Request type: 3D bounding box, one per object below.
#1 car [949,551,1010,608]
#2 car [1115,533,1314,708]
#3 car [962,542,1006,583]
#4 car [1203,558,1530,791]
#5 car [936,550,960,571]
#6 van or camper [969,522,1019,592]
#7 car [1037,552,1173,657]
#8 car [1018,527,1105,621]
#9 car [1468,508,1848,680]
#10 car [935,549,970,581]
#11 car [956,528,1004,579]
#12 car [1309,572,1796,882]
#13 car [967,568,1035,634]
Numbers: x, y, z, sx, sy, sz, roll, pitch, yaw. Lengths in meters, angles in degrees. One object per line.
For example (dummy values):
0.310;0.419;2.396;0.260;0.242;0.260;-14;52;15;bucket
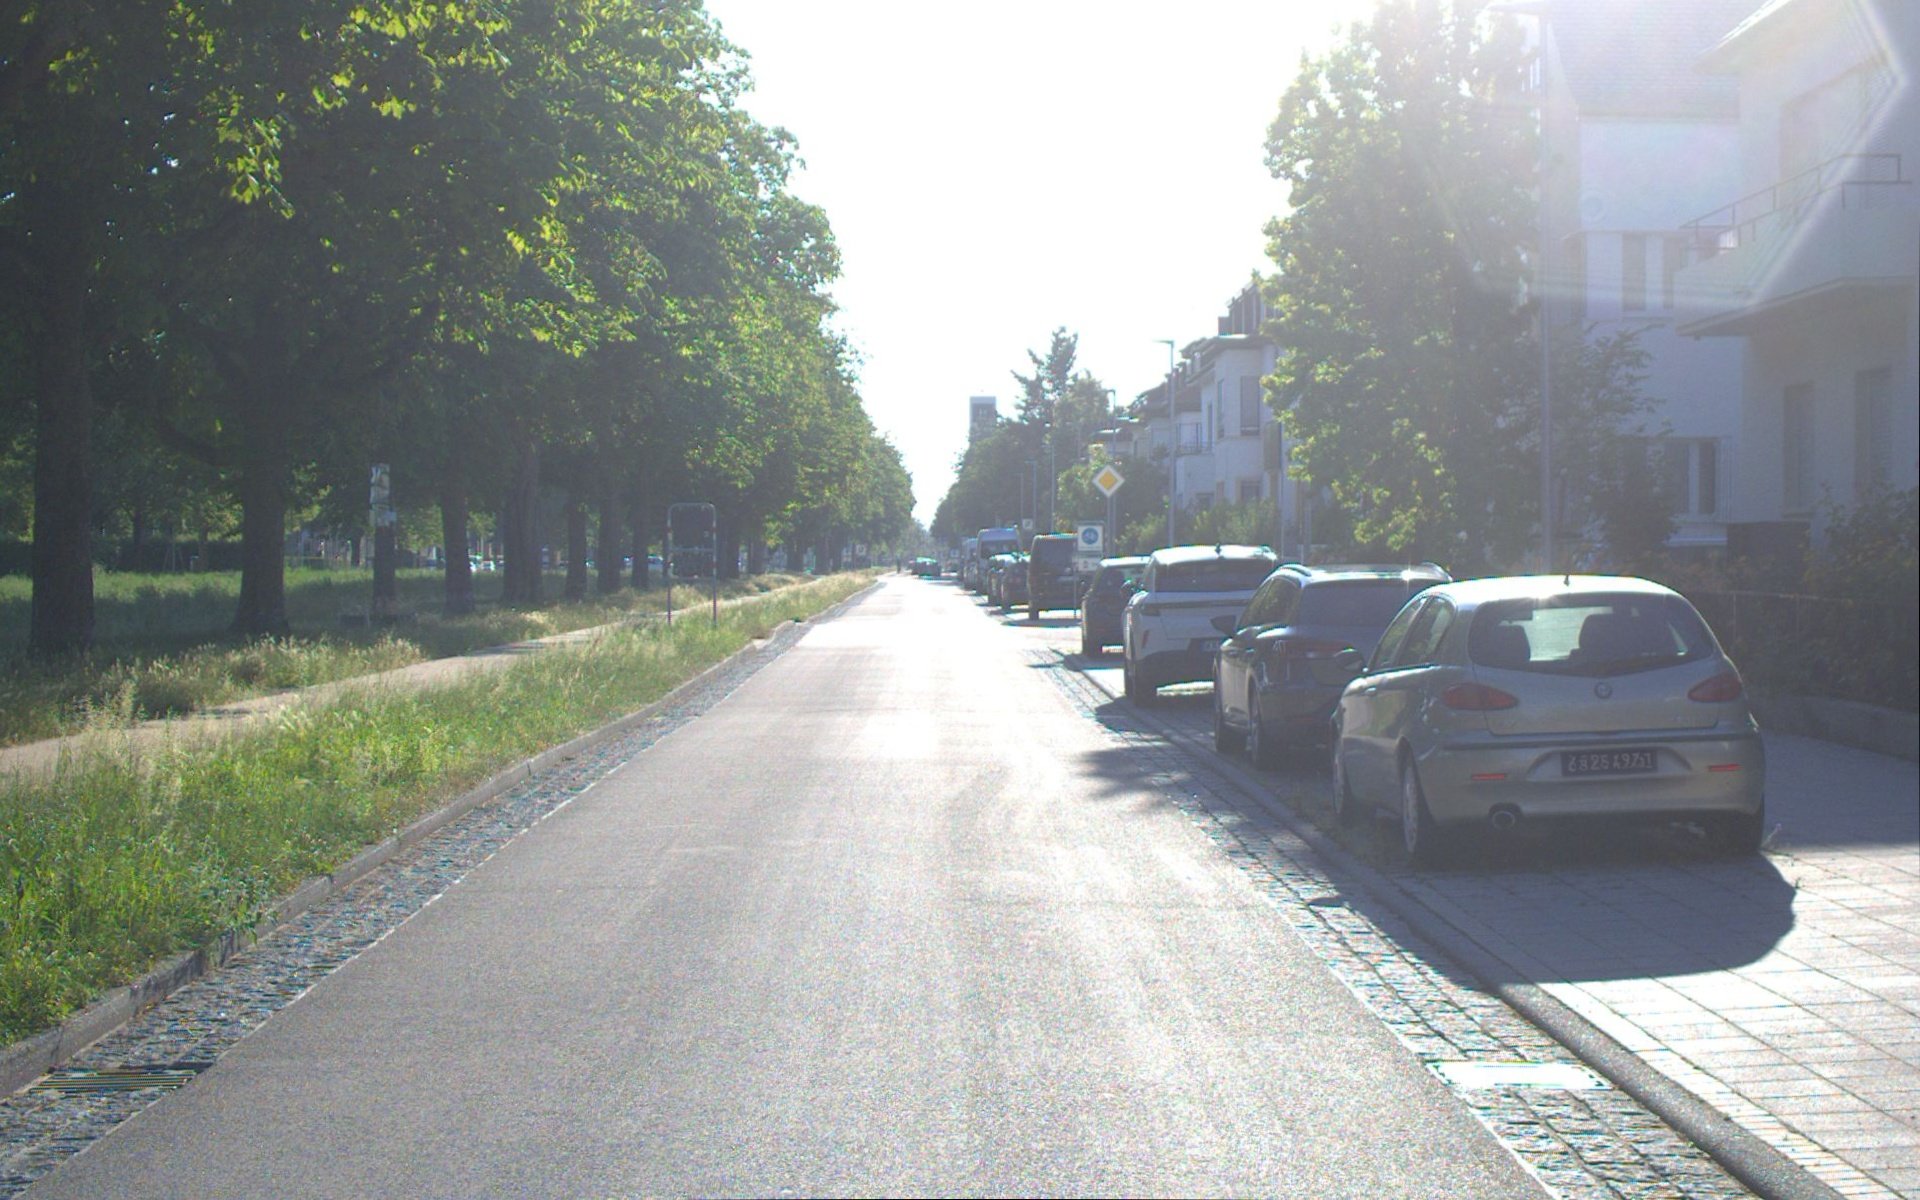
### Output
0.598;-0.675;110.272;1.832;1.679;4.415;2;1;0;car
2.647;0.181;36.706;1.905;1.702;4.575;-1;1;2;car
0.932;-1.500;137.126;1.663;1.587;4.086;2;1;0;car
2.847;0.469;24.916;1.794;1.489;4.194;-2;1;-1;car
-0.872;-3.007;261.612;1.650;1.525;3.851;5;1;1;car
1.405;-1.775;143.647;1.943;2.768;5.940;2;0;0;van or camper
2.160;0.034;52.142;1.794;1.477;4.124;-2;1;-1;car
2.390;-0.631;81.878;1.906;2.124;4.814;-1;1;1;car
8.230;-0.092;40.722;3.982;1.838;1.816;2;2;-6;car
-0.349;-1.713;167.744;1.650;1.525;3.851;-1;1;1;car
0.999;-2.355;173.997;2.126;2.524;5.189;-1;1;-2;car
2.986;0.578;18.148;1.794;1.375;4.078;-2;1;-1;car
1.151;0.001;98.360;1.794;1.765;4.473;-2;1;-1;car
